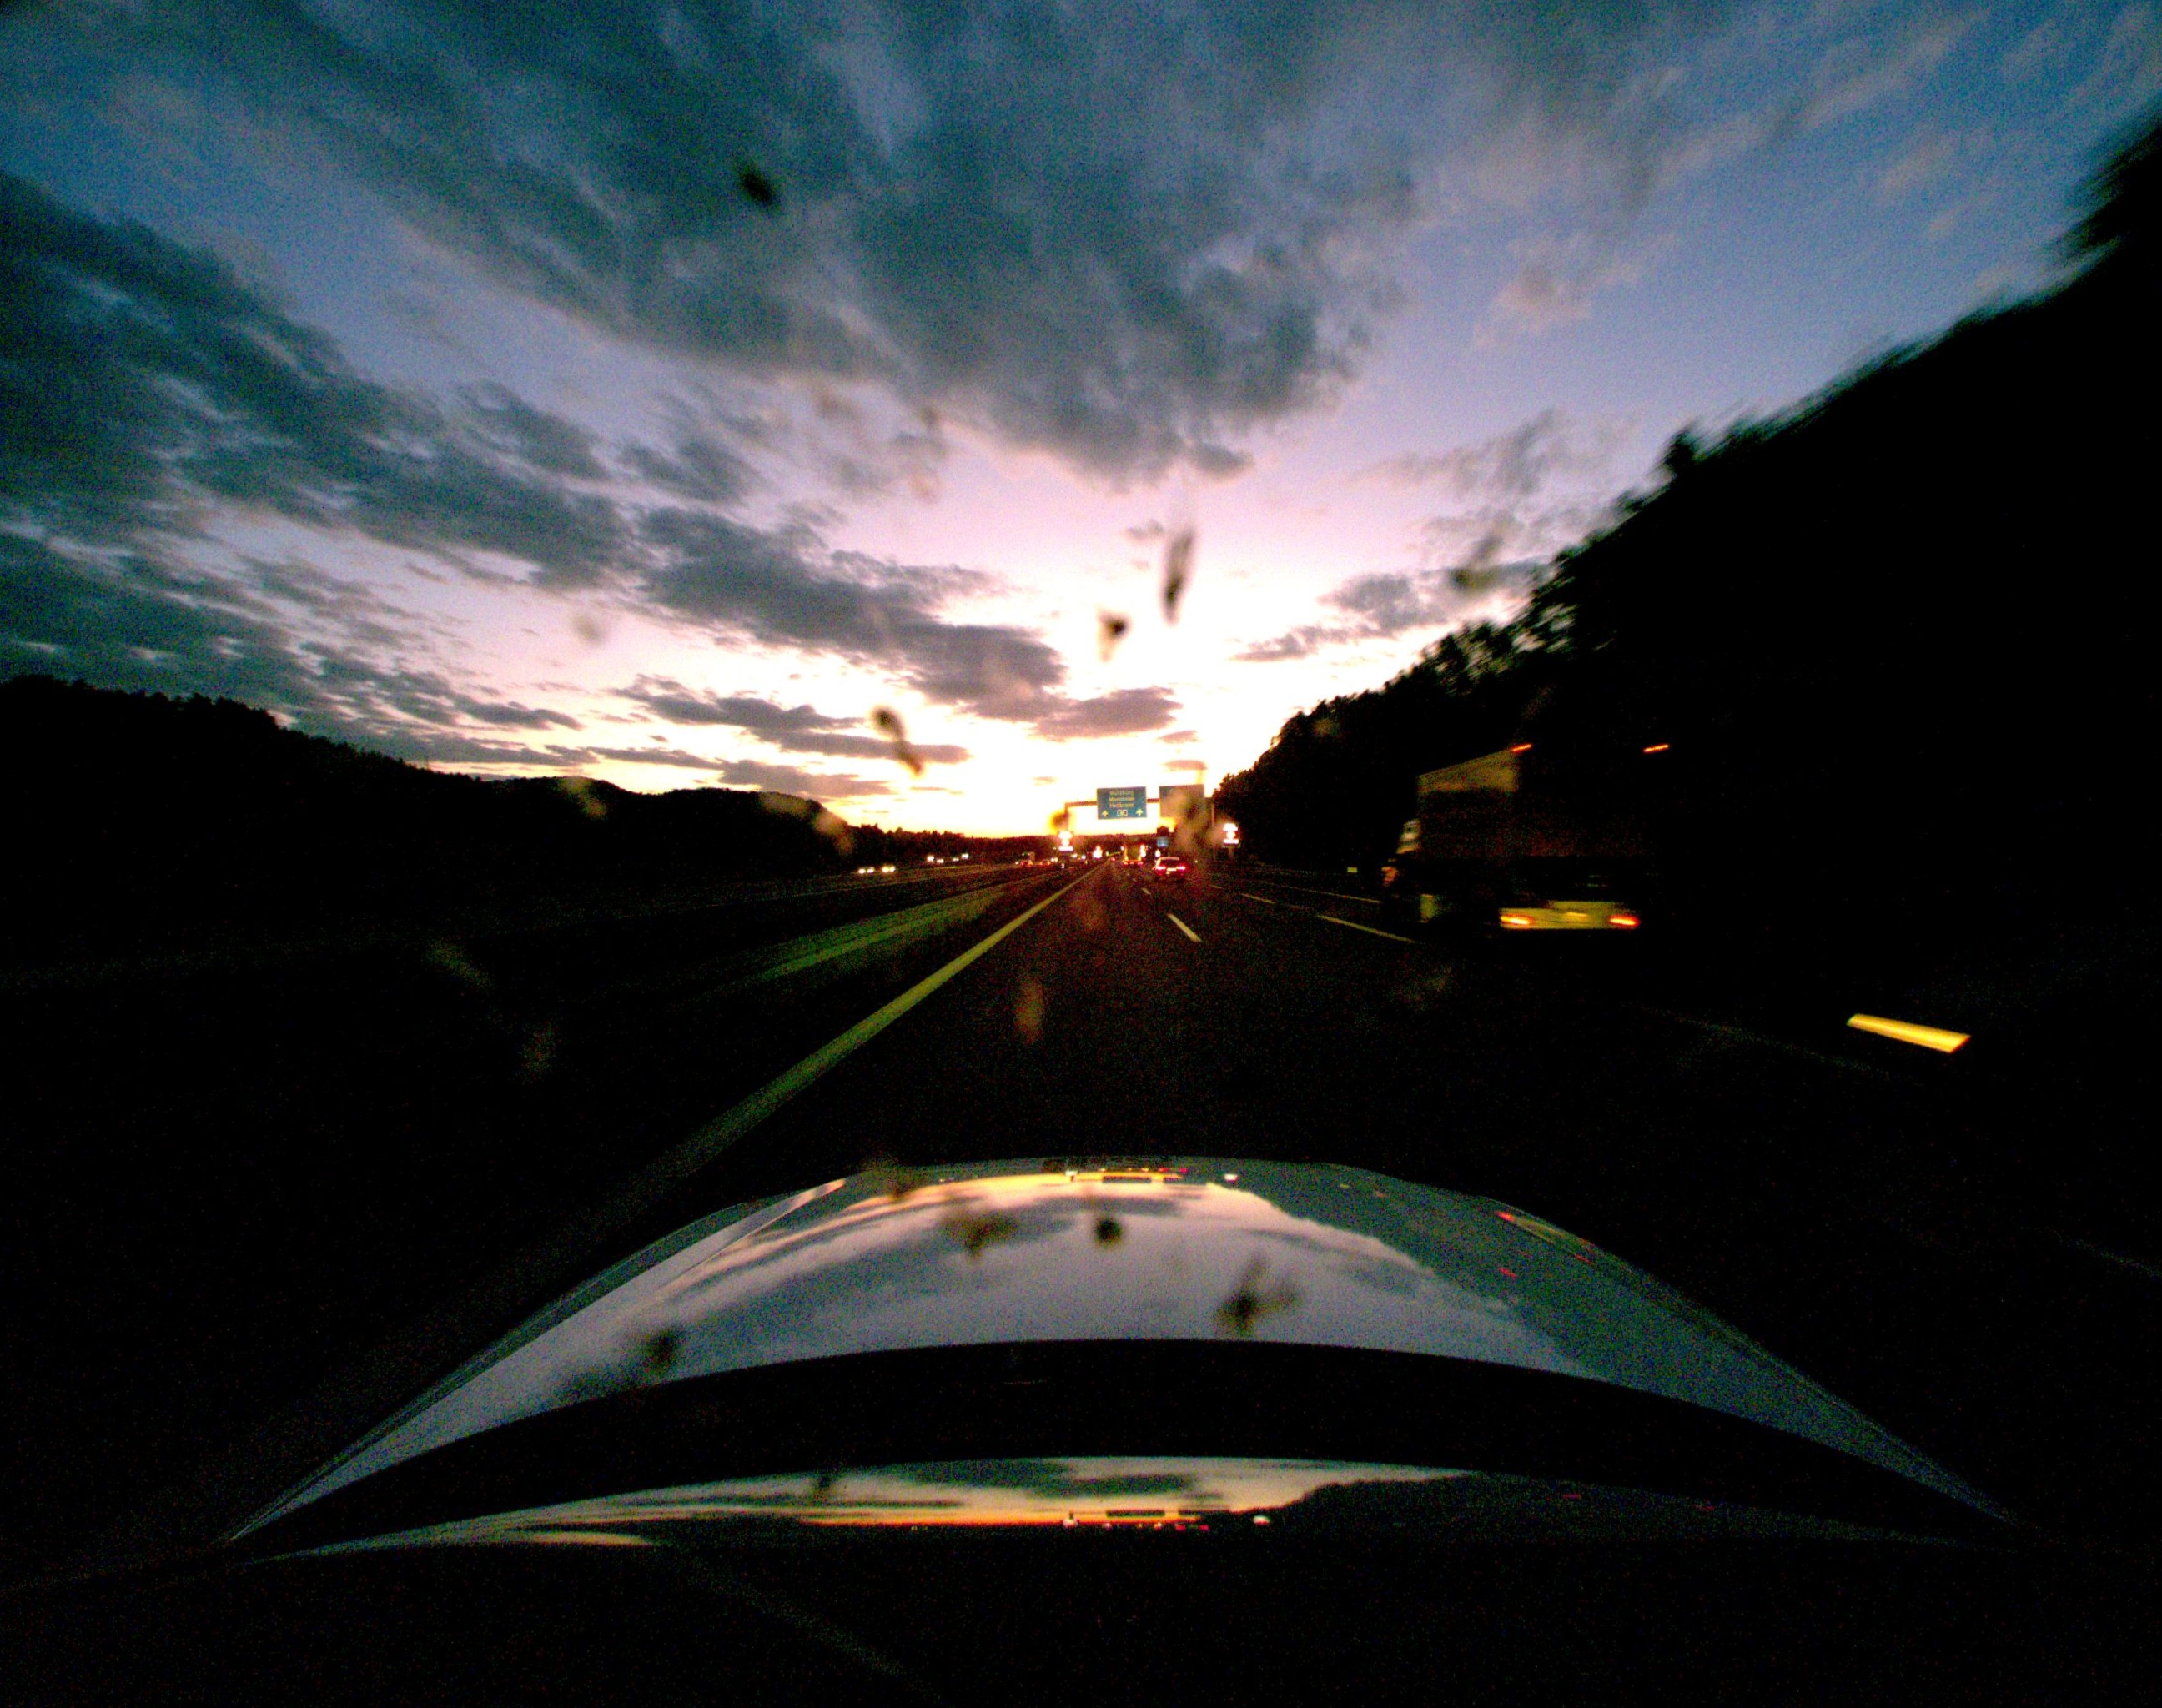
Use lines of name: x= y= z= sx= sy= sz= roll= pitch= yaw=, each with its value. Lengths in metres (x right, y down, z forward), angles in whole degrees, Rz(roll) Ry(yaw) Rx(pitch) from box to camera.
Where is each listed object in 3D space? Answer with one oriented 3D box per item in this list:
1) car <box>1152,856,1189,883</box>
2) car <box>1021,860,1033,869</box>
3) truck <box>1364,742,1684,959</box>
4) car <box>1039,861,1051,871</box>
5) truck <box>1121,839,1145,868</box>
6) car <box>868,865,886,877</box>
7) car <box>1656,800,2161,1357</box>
car: x=5.385 y=0.921 z=49.299 sx=1.908 sy=1.442 sz=4.002 roll=-2 pitch=-1 yaw=2
car: x=-9.916 y=1.982 z=149.680 sx=1.631 sy=1.546 sz=3.397 roll=-2 pitch=-1 yaw=2
truck: x=7.216 y=-0.048 z=14.479 sx=2.260 sy=2.972 sz=6.634 roll=0 pitch=0 yaw=2
car: x=-6.256 y=2.143 z=143.003 sx=1.706 sy=1.605 sz=3.724 roll=-2 pitch=-1 yaw=2
truck: x=8.486 y=-0.024 z=133.684 sx=3.496 sy=4.301 sz=9.895 roll=-2 pitch=-1 yaw=2
car: x=-36.278 y=3.054 z=144.930 sx=1.989 sy=2.014 sz=4.729 roll=-2 pitch=-1 yaw=-2
car: x=3.799 y=0.601 z=2.569 sx=1.605 sy=1.555 sz=3.319 roll=-2 pitch=-1 yaw=1
